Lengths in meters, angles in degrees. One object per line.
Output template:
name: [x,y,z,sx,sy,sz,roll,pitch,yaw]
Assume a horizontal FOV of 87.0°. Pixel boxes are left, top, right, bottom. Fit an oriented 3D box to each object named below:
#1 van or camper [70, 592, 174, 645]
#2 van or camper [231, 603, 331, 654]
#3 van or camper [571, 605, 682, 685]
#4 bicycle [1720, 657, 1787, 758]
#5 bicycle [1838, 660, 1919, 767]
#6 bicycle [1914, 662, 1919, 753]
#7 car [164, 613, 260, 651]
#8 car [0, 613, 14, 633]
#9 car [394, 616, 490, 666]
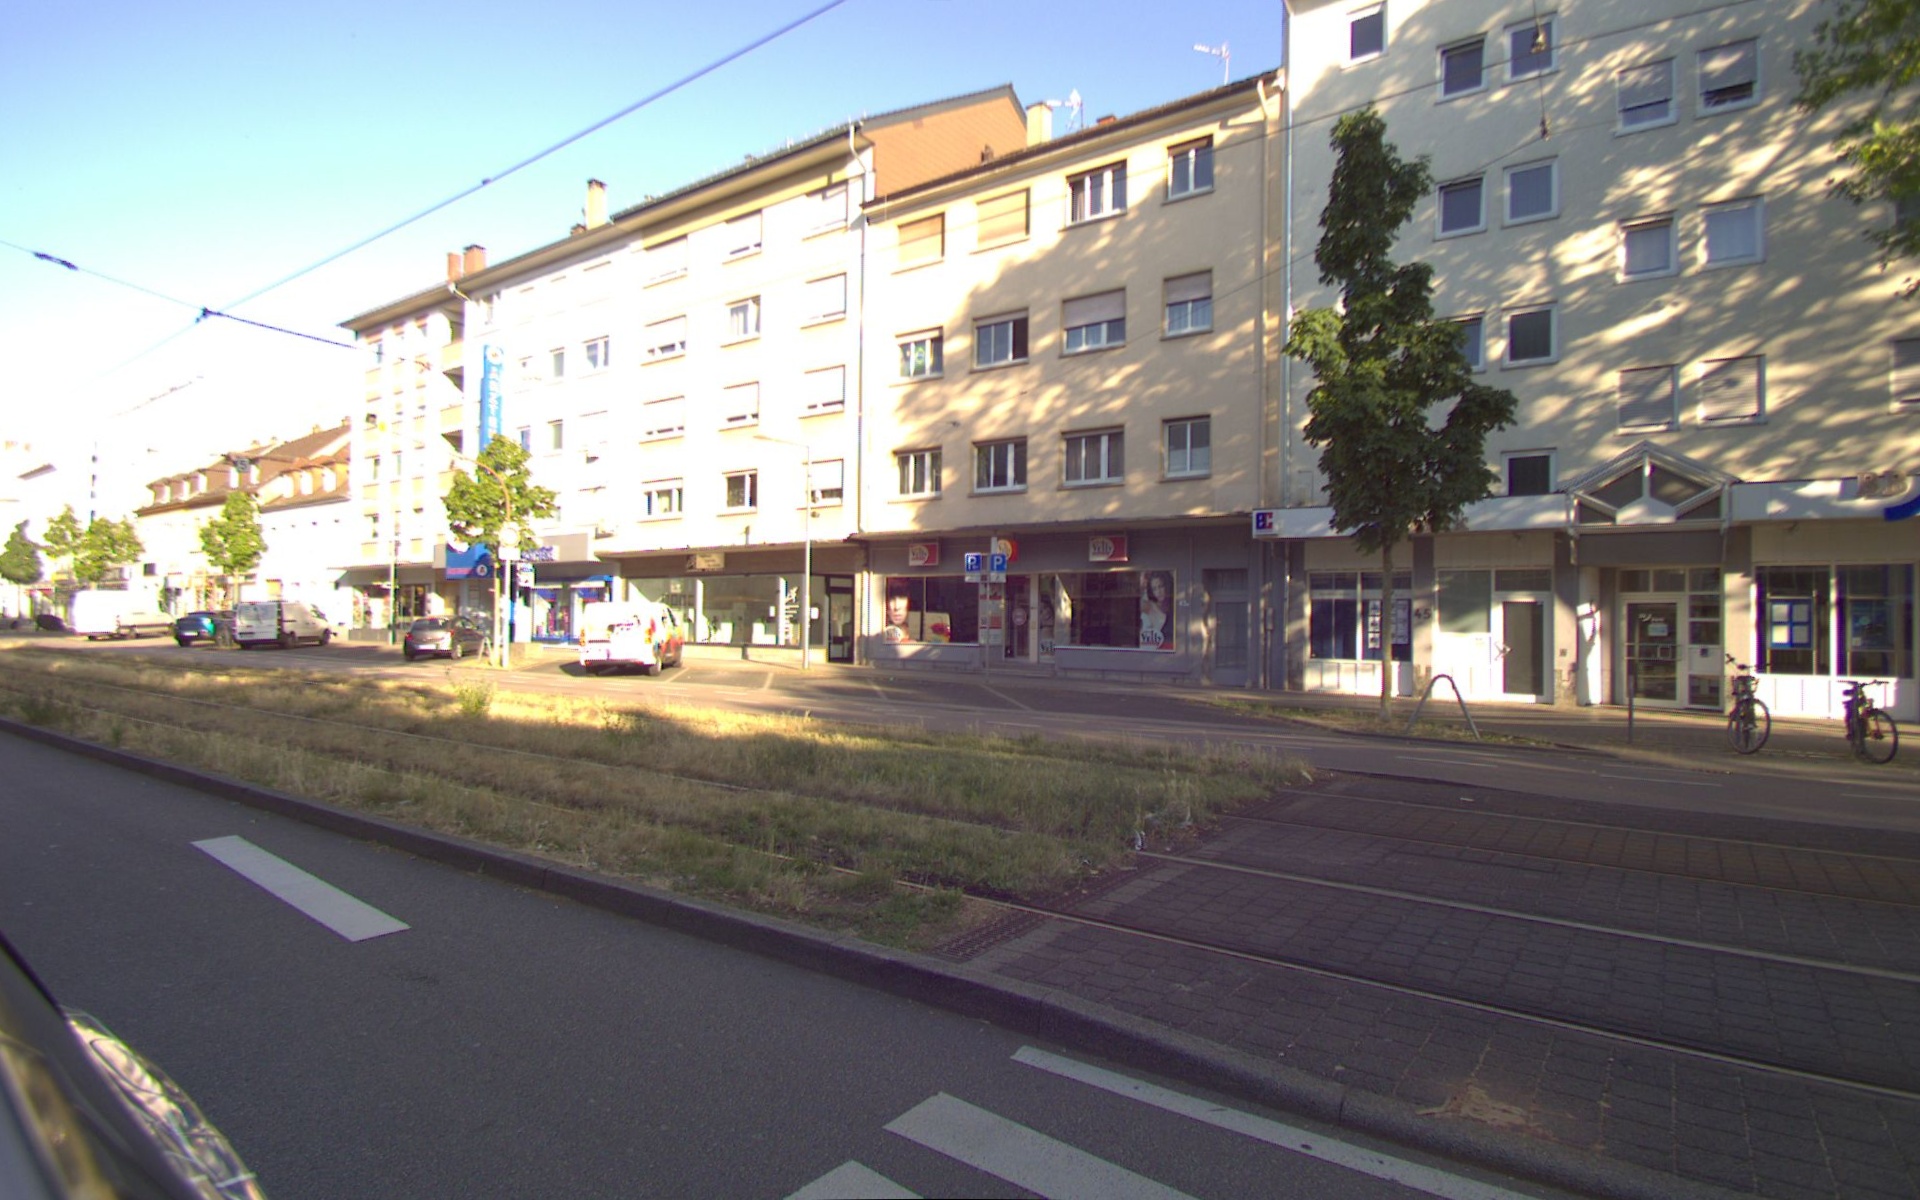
van or camper: [-45.430,0.948,55.067,1.966,2.687,6.417,-1,0,-16]
van or camper: [-28.612,1.145,42.805,1.771,2.004,4.460,-1,0,-8]
van or camper: [-8.936,1.130,27.538,1.921,1.912,4.822,-1,0,-6]
bicycle: [10.319,1.354,13.202,0.533,1.133,1.878,-1,-1,34]
bicycle: [11.343,1.352,12.483,0.533,1.133,1.878,-1,-1,34]
bicycle: [11.995,1.353,12.017,0.650,1.133,1.878,-1,-1,34]
car: [-34.346,1.423,46.628,1.850,1.598,4.007,-1,0,-7]
car: [-73.440,1.736,75.510,1.752,1.501,3.899,-1,0,13]
car: [-17.662,1.337,34.750,1.741,1.501,4.461,-1,0,-11]
